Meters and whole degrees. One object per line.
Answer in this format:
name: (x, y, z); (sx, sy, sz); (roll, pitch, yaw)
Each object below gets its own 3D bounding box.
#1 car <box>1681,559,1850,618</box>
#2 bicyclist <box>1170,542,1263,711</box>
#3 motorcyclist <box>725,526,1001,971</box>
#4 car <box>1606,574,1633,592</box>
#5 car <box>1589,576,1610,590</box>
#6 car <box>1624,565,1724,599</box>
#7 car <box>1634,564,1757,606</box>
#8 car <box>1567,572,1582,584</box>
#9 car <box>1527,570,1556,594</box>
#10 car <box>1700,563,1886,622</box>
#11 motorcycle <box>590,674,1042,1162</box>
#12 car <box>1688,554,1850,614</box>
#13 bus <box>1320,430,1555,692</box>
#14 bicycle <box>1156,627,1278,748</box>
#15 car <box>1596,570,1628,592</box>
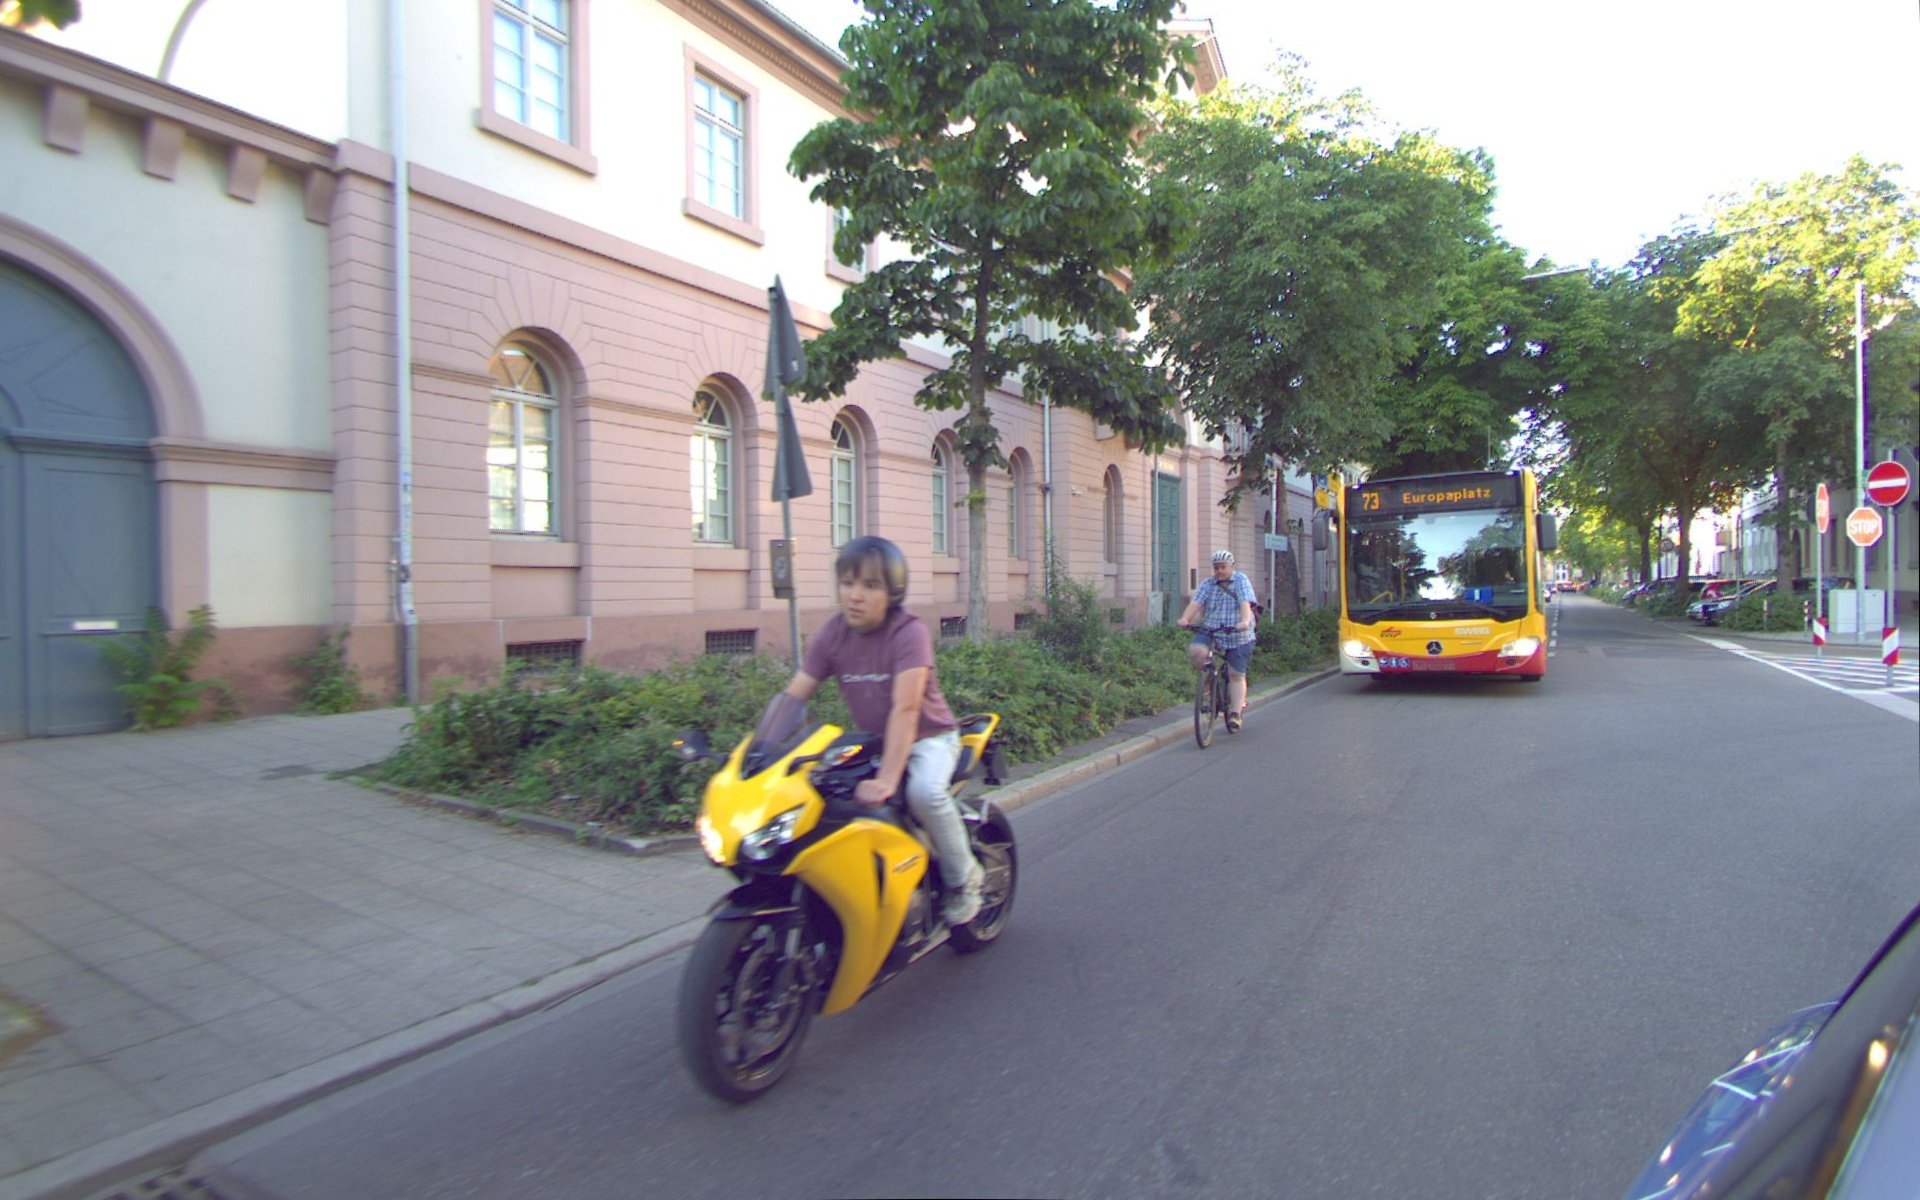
car: (26.131, -0.373, 32.995); (3.956, 1.834, 1.786); (0, 1, 24)
bicyclist: (2.527, 0.254, 9.937); (0.632, 1.581, 0.810); (-3, -1, 30)
motorcyclist: (-0.331, 0.476, 3.730); (0.729, 1.430, 0.721); (-2, 1, 22)
car: (58.089, -1.516, 89.148); (1.785, 1.529, 3.957); (0, 1, 31)
car: (71.372, -1.922, 112.986); (1.785, 1.529, 3.957); (0, 1, 31)
car: (37.483, -0.941, 53.237); (3.956, 1.730, 1.830); (0, 1, 24)
car: (31.750, -0.641, 43.822); (3.956, 1.730, 1.984); (0, 1, 24)
car: (90.878, -3.289, 149.744); (1.830, 1.730, 4.113); (0, 1, 31)
car: (43.751, -1.339, 76.092); (1.830, 1.730, 3.957); (0, 1, 31)
car: (25.000, -0.233, 30.545); (3.956, 1.690, 1.786); (0, 1, 24)
motorcycle: (-0.350, 0.901, 3.669); (0.729, 1.073, 1.950); (-2, 1, 22)
car: (27.736, -0.540, 34.876); (3.956, 1.976, 1.984); (0, 1, 24)
bus: (9.117, -0.586, 18.253); (2.648, 3.235, 11.770); (-2, 0, 31)
bicycle: (2.568, 0.809, 9.951); (0.632, 0.996, 1.961); (-3, -1, 30)
car: (47.218, -1.363, 73.384); (1.785, 1.529, 3.957); (0, 1, 31)
